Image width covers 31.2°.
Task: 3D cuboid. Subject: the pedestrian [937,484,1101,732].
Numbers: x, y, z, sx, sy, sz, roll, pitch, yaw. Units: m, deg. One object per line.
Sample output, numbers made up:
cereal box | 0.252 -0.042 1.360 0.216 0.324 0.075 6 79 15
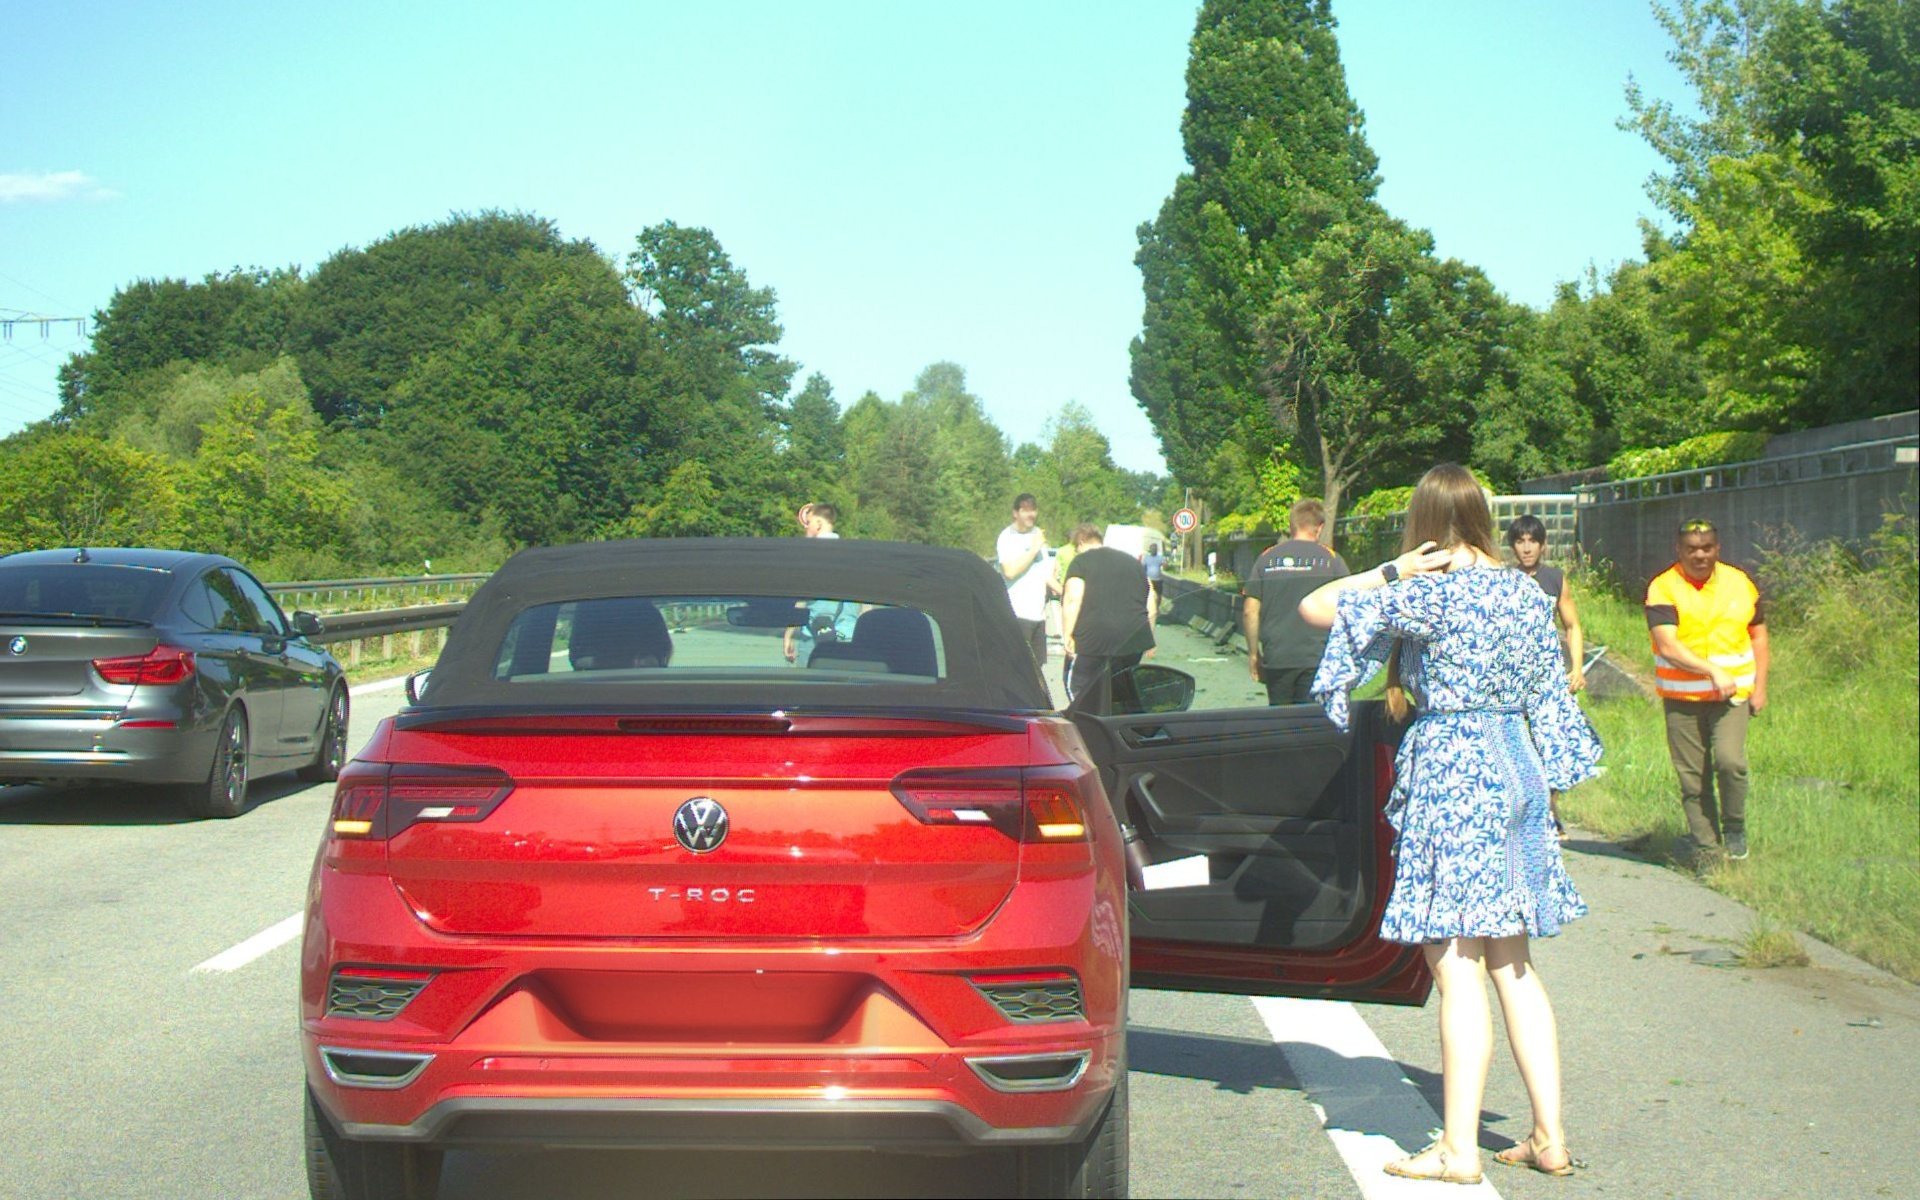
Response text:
pedestrian | 0.457 0.049 27.246 1.105 1.906 1.257 -1 1 -7

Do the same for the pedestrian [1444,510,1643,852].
pedestrian | 3.003 0.406 17.756 0.894 1.719 0.754 1 0 2

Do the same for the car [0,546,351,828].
car | -4.772 0.417 19.905 1.694 1.421 4.334 1 1 0

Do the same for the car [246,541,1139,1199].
car | -0.515 0.601 8.824 1.732 1.482 4.210 1 1 0

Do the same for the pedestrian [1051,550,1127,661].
pedestrian | 2.006 0.077 53.316 1.056 1.683 1.017 1 0 7

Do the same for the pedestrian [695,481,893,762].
pedestrian | -1.077 0.131 22.560 1.104 1.782 1.091 1 0 7

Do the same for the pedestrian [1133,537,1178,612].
pedestrian | 4.498 -0.588 79.046 0.996 1.683 1.010 1 0 4

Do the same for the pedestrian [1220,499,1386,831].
pedestrian | 1.881 0.339 18.753 0.812 1.753 0.828 1 0 10

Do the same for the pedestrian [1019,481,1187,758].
pedestrian | 0.984 0.122 23.958 1.090 1.876 1.069 -1 1 -1

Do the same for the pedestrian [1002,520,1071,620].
pedestrian | 1.311 -0.513 58.683 1.114 1.683 0.973 1 0 4

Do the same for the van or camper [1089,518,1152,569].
van or camper | 7.516 -2.636 160.731 1.995 2.308 4.467 1 1 15

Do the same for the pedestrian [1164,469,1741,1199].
pedestrian | 1.144 0.550 8.176 0.889 1.689 1.129 -1 1 -22

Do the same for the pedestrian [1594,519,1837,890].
pedestrian | 3.488 0.456 15.978 0.958 1.648 1.278 -1 1 7

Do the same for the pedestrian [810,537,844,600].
pedestrian | -3.598 -0.850 93.043 0.792 1.683 0.792 1 0 6
